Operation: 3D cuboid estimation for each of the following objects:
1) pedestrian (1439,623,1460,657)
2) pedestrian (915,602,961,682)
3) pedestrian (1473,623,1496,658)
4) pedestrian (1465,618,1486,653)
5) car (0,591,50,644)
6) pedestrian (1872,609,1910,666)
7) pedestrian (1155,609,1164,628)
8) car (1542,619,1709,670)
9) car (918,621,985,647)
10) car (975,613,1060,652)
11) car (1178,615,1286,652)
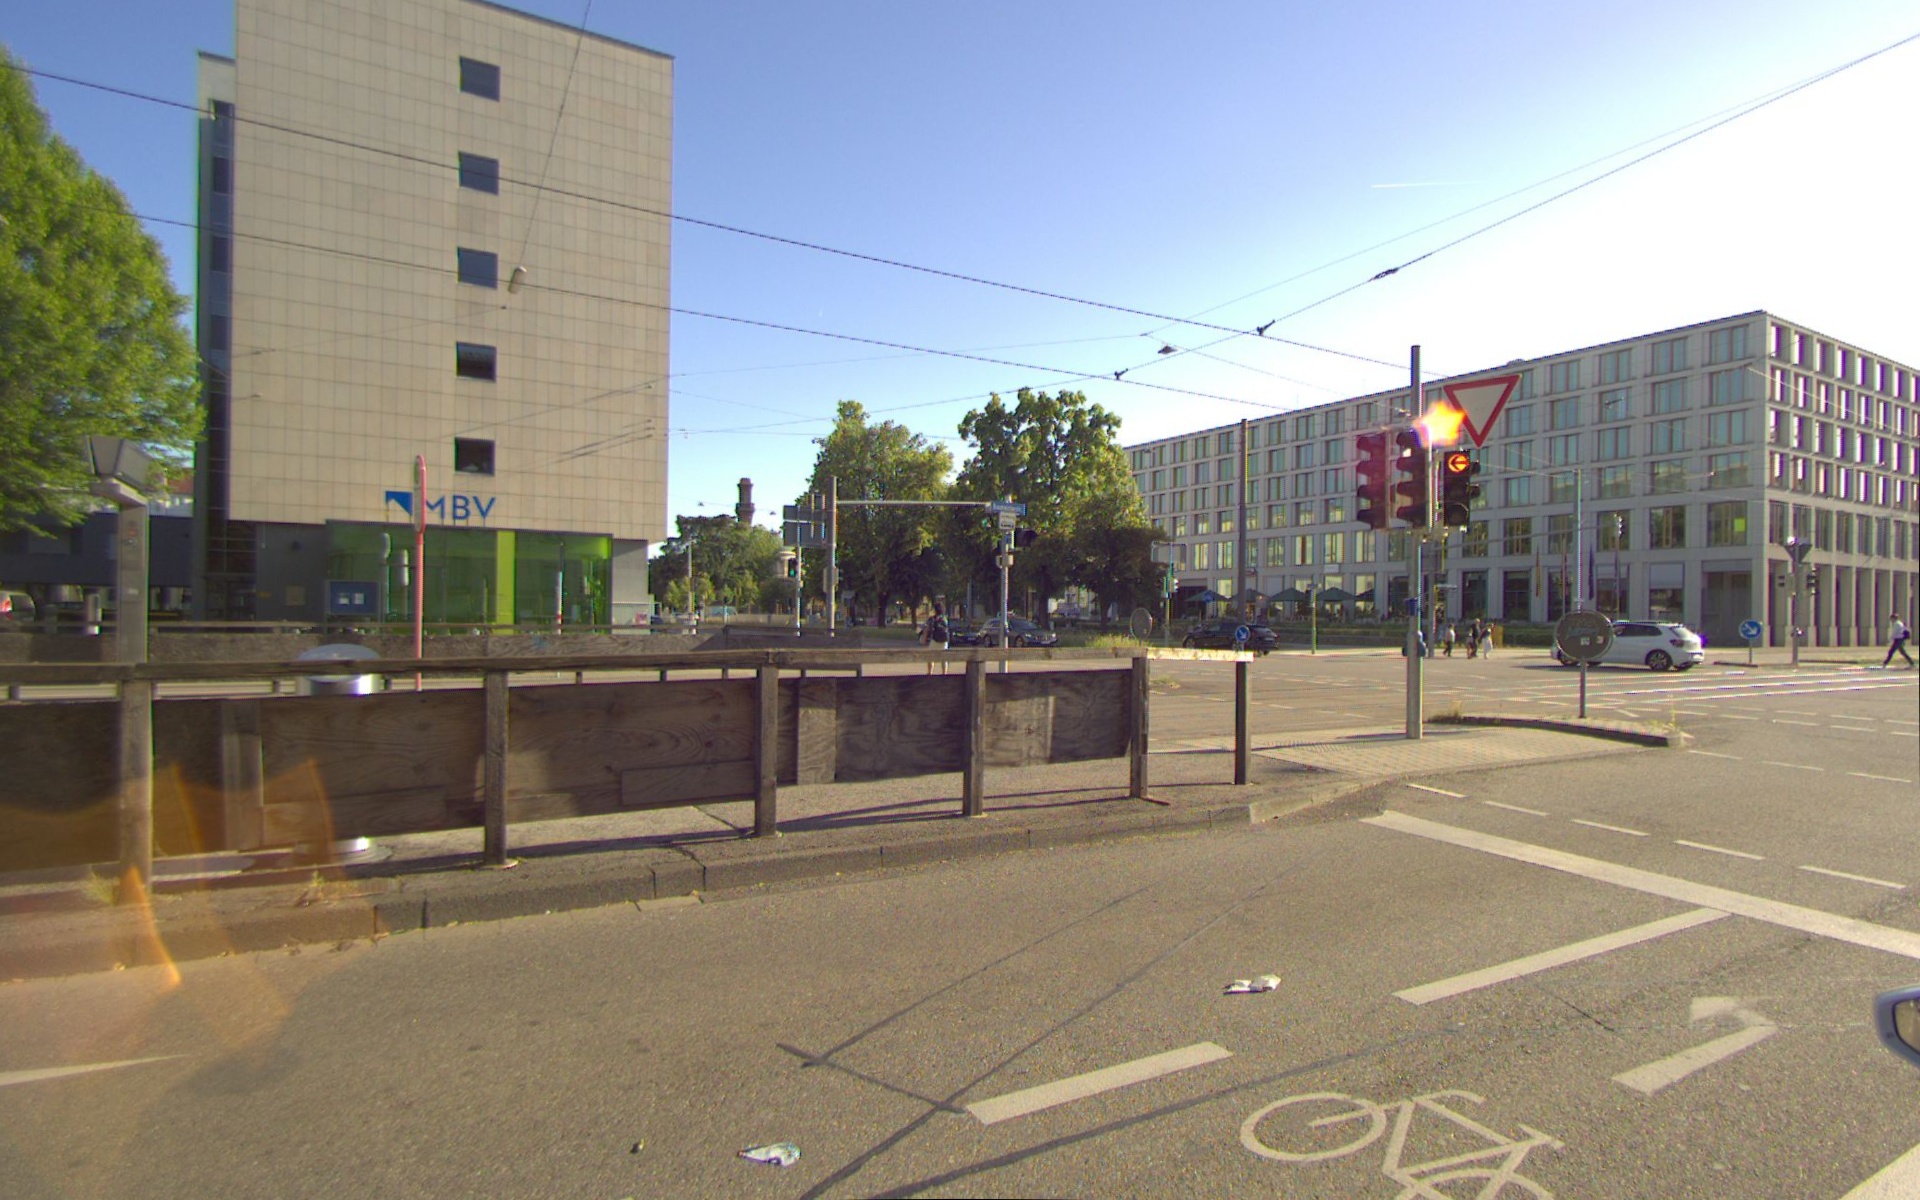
[{"bbox_3d":[23.788,1.942,48.849,0.613,1.666,0.692,1,-1,-26],"label":"pedestrian"},{"bbox_3d":[-0.493,0.937,22.531,0.815,1.739,0.756,1,-1,-23],"label":"pedestrian"},{"bbox_3d":[24.874,1.921,47.630,0.615,1.666,0.787,1,-1,-34],"label":"pedestrian"},{"bbox_3d":[24.954,1.733,48.652,0.615,1.666,0.690,1,-1,-34],"label":"pedestrian"},{"bbox_3d":[-27.715,0.450,27.800,3.371,1.431,1.562,2,0,-20],"label":"car"},{"bbox_3d":[31.885,1.270,34.400,0.628,1.943,0.800,1,-1,-24],"label":"pedestrian"},{"bbox_3d":[18.410,1.712,92.686,0.556,1.691,0.537,2,0,-33],"label":"pedestrian"},{"bbox_3d":[20.592,1.345,31.227,1.615,1.452,4.018,3,-2,-33],"label":"car"},{"bbox_3d":[-0.514,1.774,53.462,1.755,1.311,4.209,1,-1,-30],"label":"car"},{"bbox_3d":[2.663,1.517,47.689,1.831,1.602,4.491,1,1,-31],"label":"car"},{"bbox_3d":[12.422,1.516,46.160,1.978,1.433,4.710,4,-2,-31],"label":"car"}]
